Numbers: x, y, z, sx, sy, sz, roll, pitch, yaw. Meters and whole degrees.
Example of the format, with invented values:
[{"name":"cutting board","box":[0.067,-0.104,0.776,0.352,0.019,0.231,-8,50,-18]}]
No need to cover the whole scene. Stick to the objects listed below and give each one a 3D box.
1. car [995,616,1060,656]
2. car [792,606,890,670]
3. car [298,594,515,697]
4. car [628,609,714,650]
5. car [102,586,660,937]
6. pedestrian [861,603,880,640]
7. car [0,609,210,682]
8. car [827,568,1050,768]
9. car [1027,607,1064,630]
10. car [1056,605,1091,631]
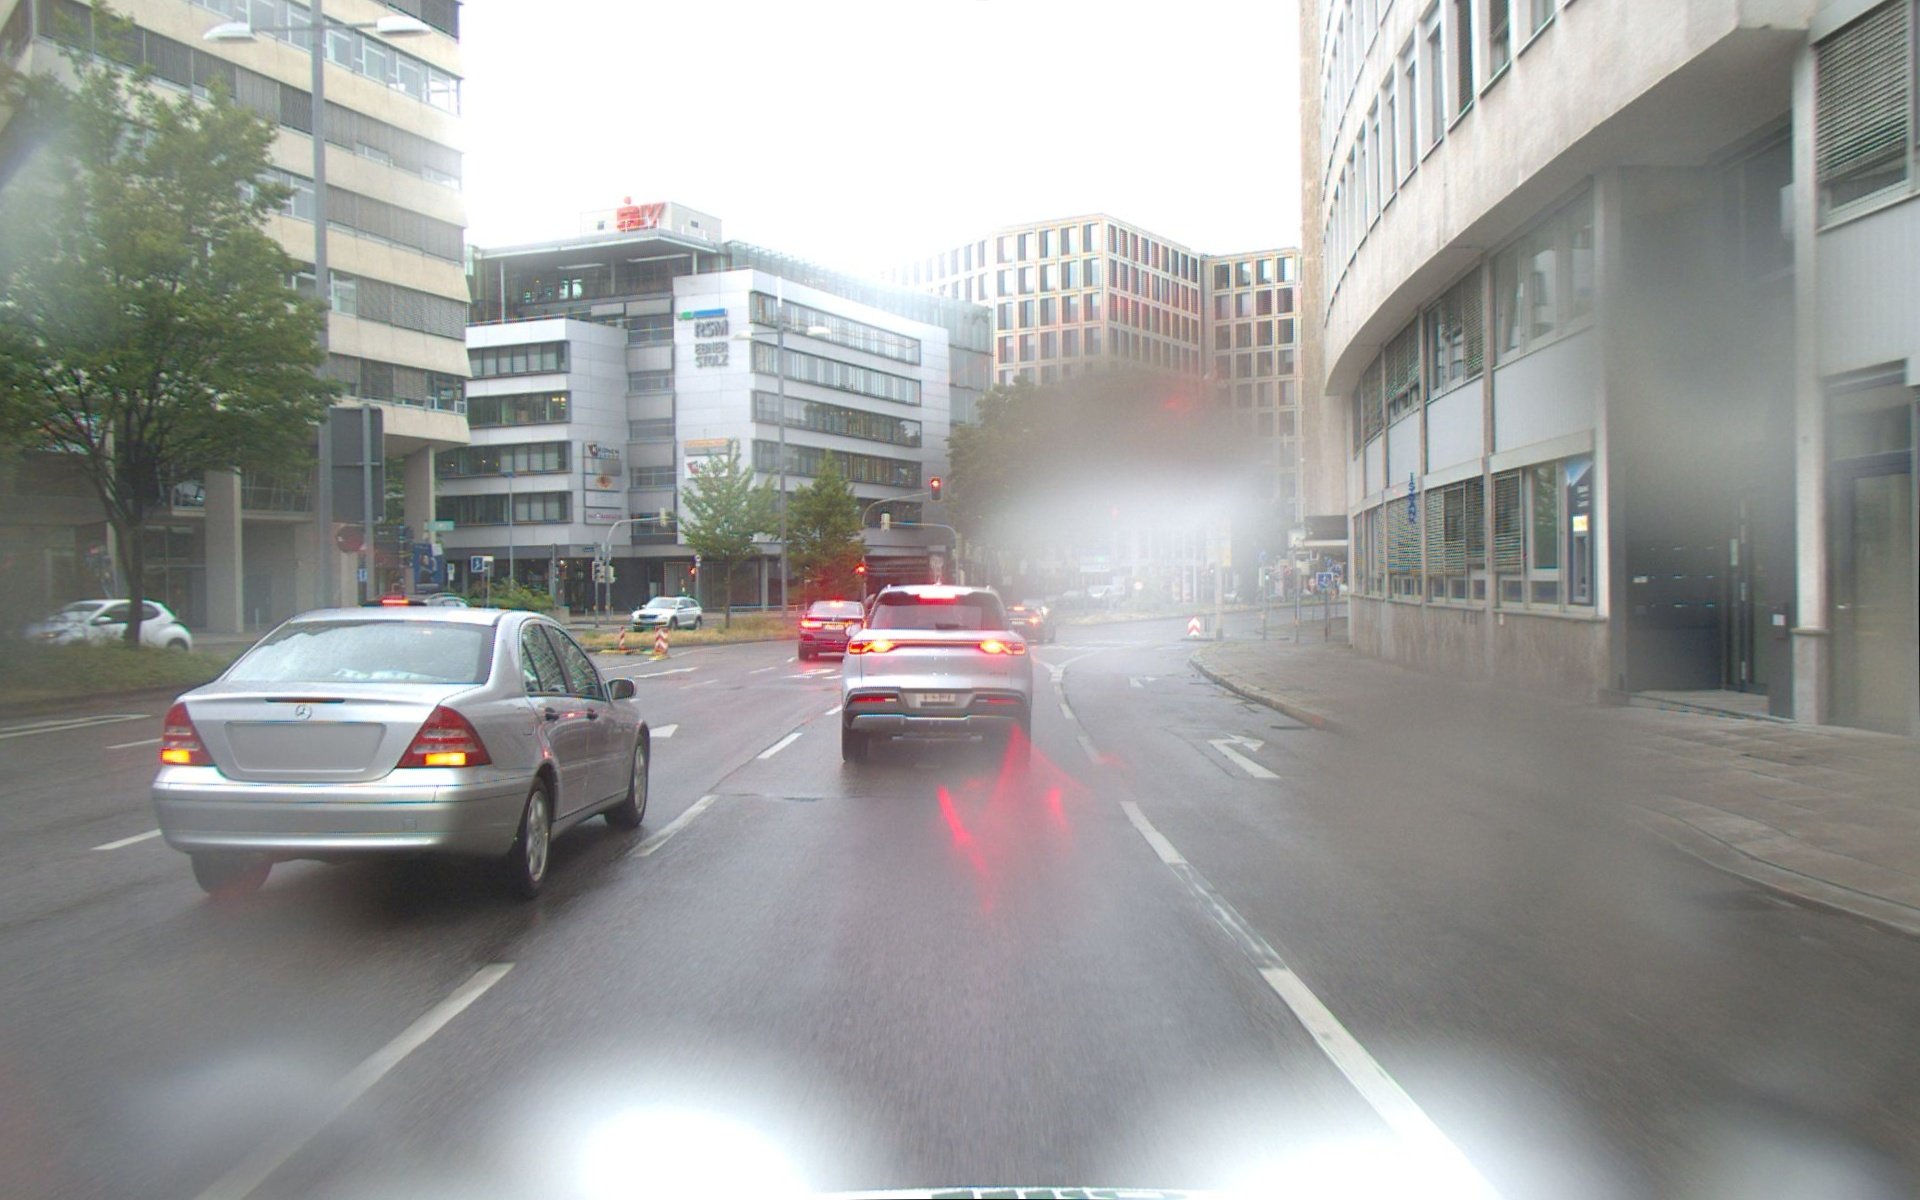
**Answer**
[{"name":"car","box":[2.746,1.420,66.597,1.913,1.557,4.003,0,-1,13]},{"name":"car","box":[-3.016,0.966,42.677,1.914,1.557,4.002,0,-1,5]},{"name":"car","box":[-9.133,0.741,27.737,1.952,1.571,4.484,0,-1,3]},{"name":"car","box":[-12.886,1.328,74.018,1.701,1.758,4.494,0,-1,21]},{"name":"car","box":[-2.895,0.732,9.290,1.647,1.512,4.196,0,-1,0]},{"name":"pedestrian","box":[-4.299,1.023,79.356,0.903,1.768,0.729,0,-1,-2]},{"name":"car","box":[-18.335,0.950,35.466,1.648,1.457,4.082,0,-1,22]},{"name":"car","box":[-0.207,0.630,16.799,1.953,1.739,4.481,0,-1,-1]},{"name":"car","box":[6.833,1.516,131.941,1.701,1.758,4.494,0,-1,21]},{"name":"car","box":[9.733,1.546,141.681,1.701,2.199,4.494,0,-1,21]}]
